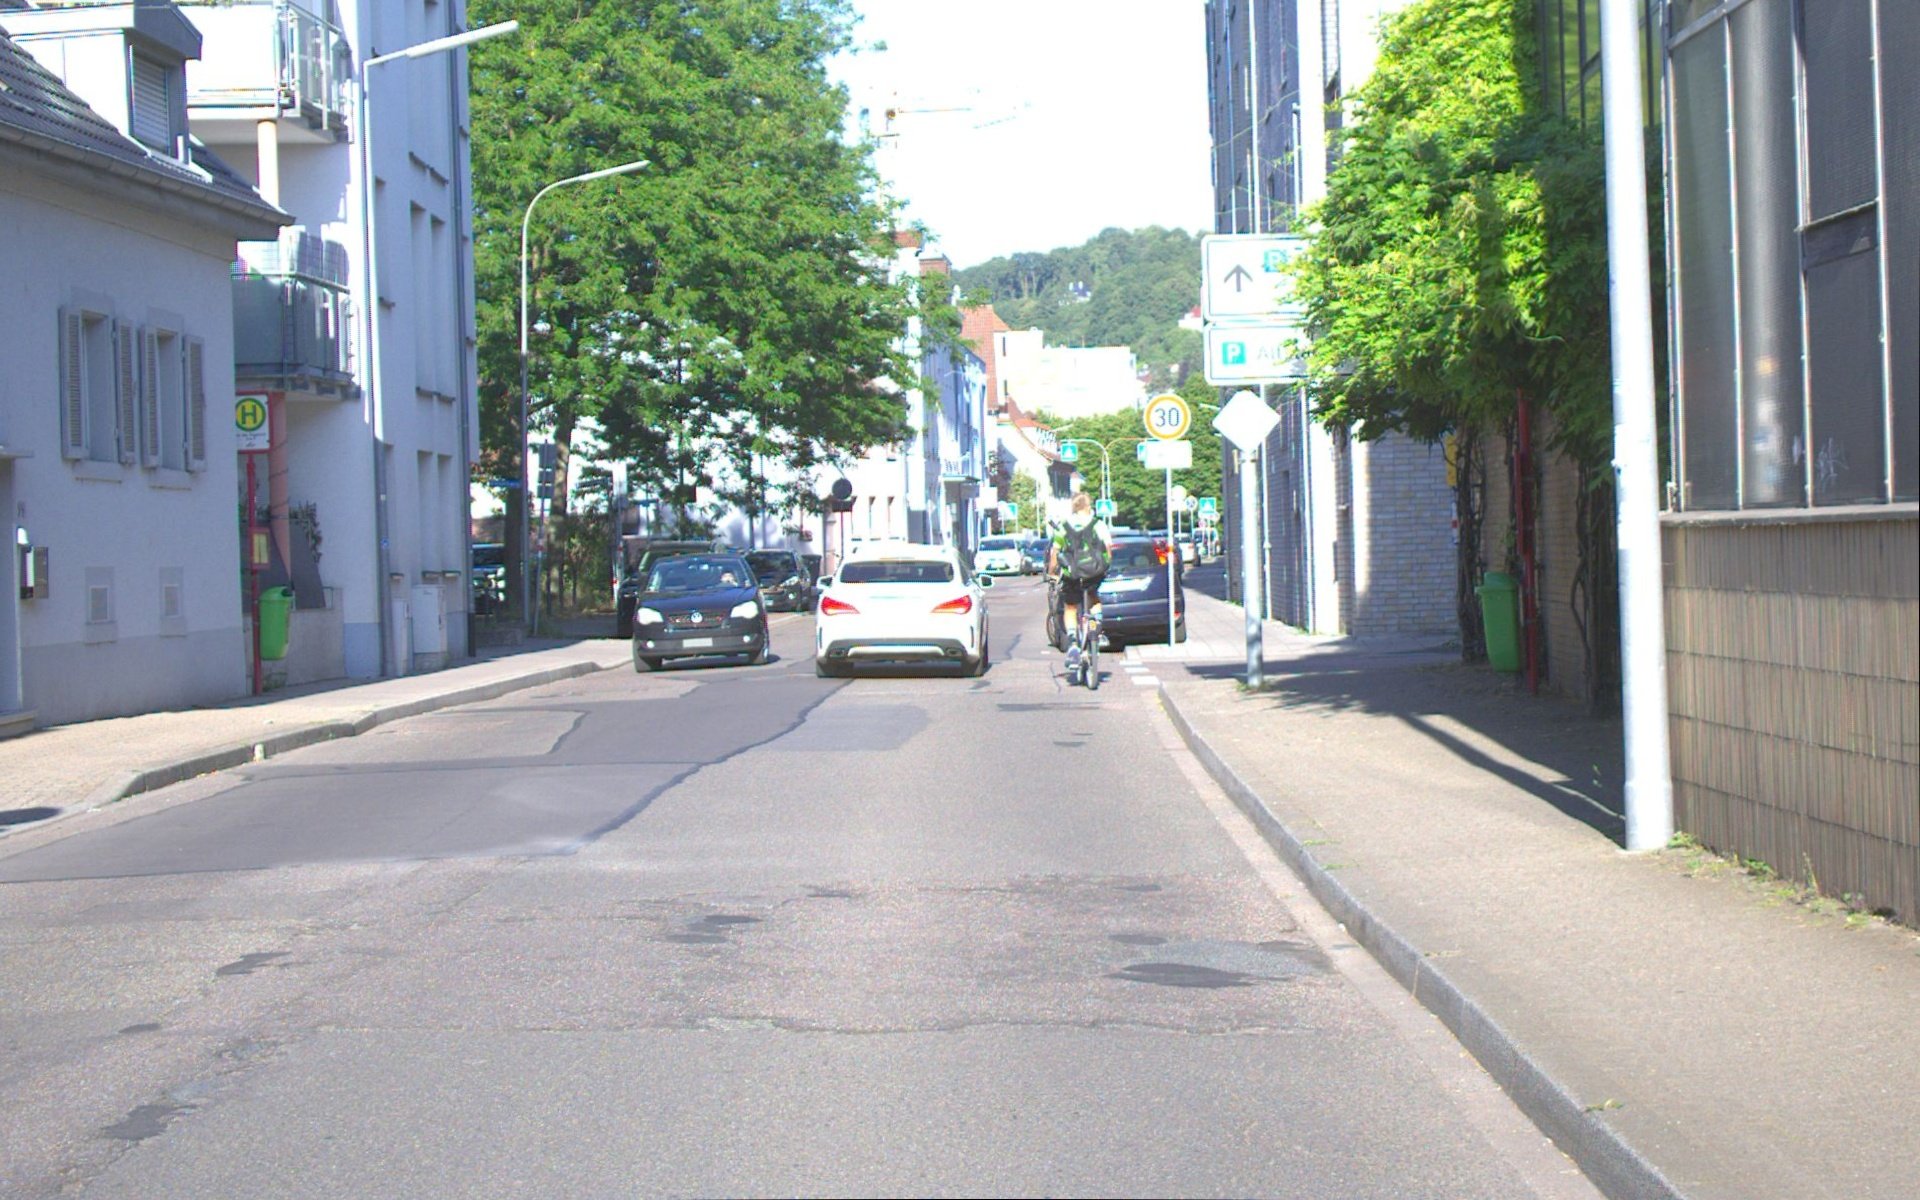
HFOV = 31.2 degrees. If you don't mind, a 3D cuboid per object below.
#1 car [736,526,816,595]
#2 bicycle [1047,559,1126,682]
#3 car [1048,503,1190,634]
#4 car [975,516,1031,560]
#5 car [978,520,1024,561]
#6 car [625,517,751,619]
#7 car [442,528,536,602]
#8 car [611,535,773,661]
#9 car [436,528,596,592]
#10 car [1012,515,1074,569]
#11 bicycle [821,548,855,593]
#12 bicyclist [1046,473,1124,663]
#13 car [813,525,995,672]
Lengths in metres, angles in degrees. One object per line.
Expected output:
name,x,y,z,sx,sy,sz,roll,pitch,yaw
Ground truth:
car,-4.419,-0.974,82.966,1.704,1.570,3.914,-1,1,0
bicycle,1.207,0.175,33.131,0.698,1.126,2.403,-1,1,1
car,2.136,-0.442,47.089,1.629,1.581,4.069,-5,1,0
car,1.749,-2.507,138.670,1.945,1.581,4.621,-5,1,4
car,1.647,-2.404,137.879,1.664,1.570,3.914,-1,1,3
car,-5.060,-0.635,64.502,1.853,1.785,4.607,-1,1,2
car,-11.145,-0.847,81.559,1.790,1.684,3.965,0,1,-1
car,-3.360,-0.053,43.799,1.842,1.486,4.145,-1,1,-2
car,-11.777,-1.064,91.345,3.902,1.570,1.709,-1,1,6
car,2.864,-2.013,119.100,1.853,1.785,4.608,-1,1,-2
bicycle,-3.471,-0.861,98.201,0.835,1.213,2.842,-1,1,0
bicyclist,1.196,-0.307,33.117,0.698,1.784,1.041,-1,1,1
car,-0.610,-0.042,37.634,1.842,1.486,4.144,-1,1,-1
